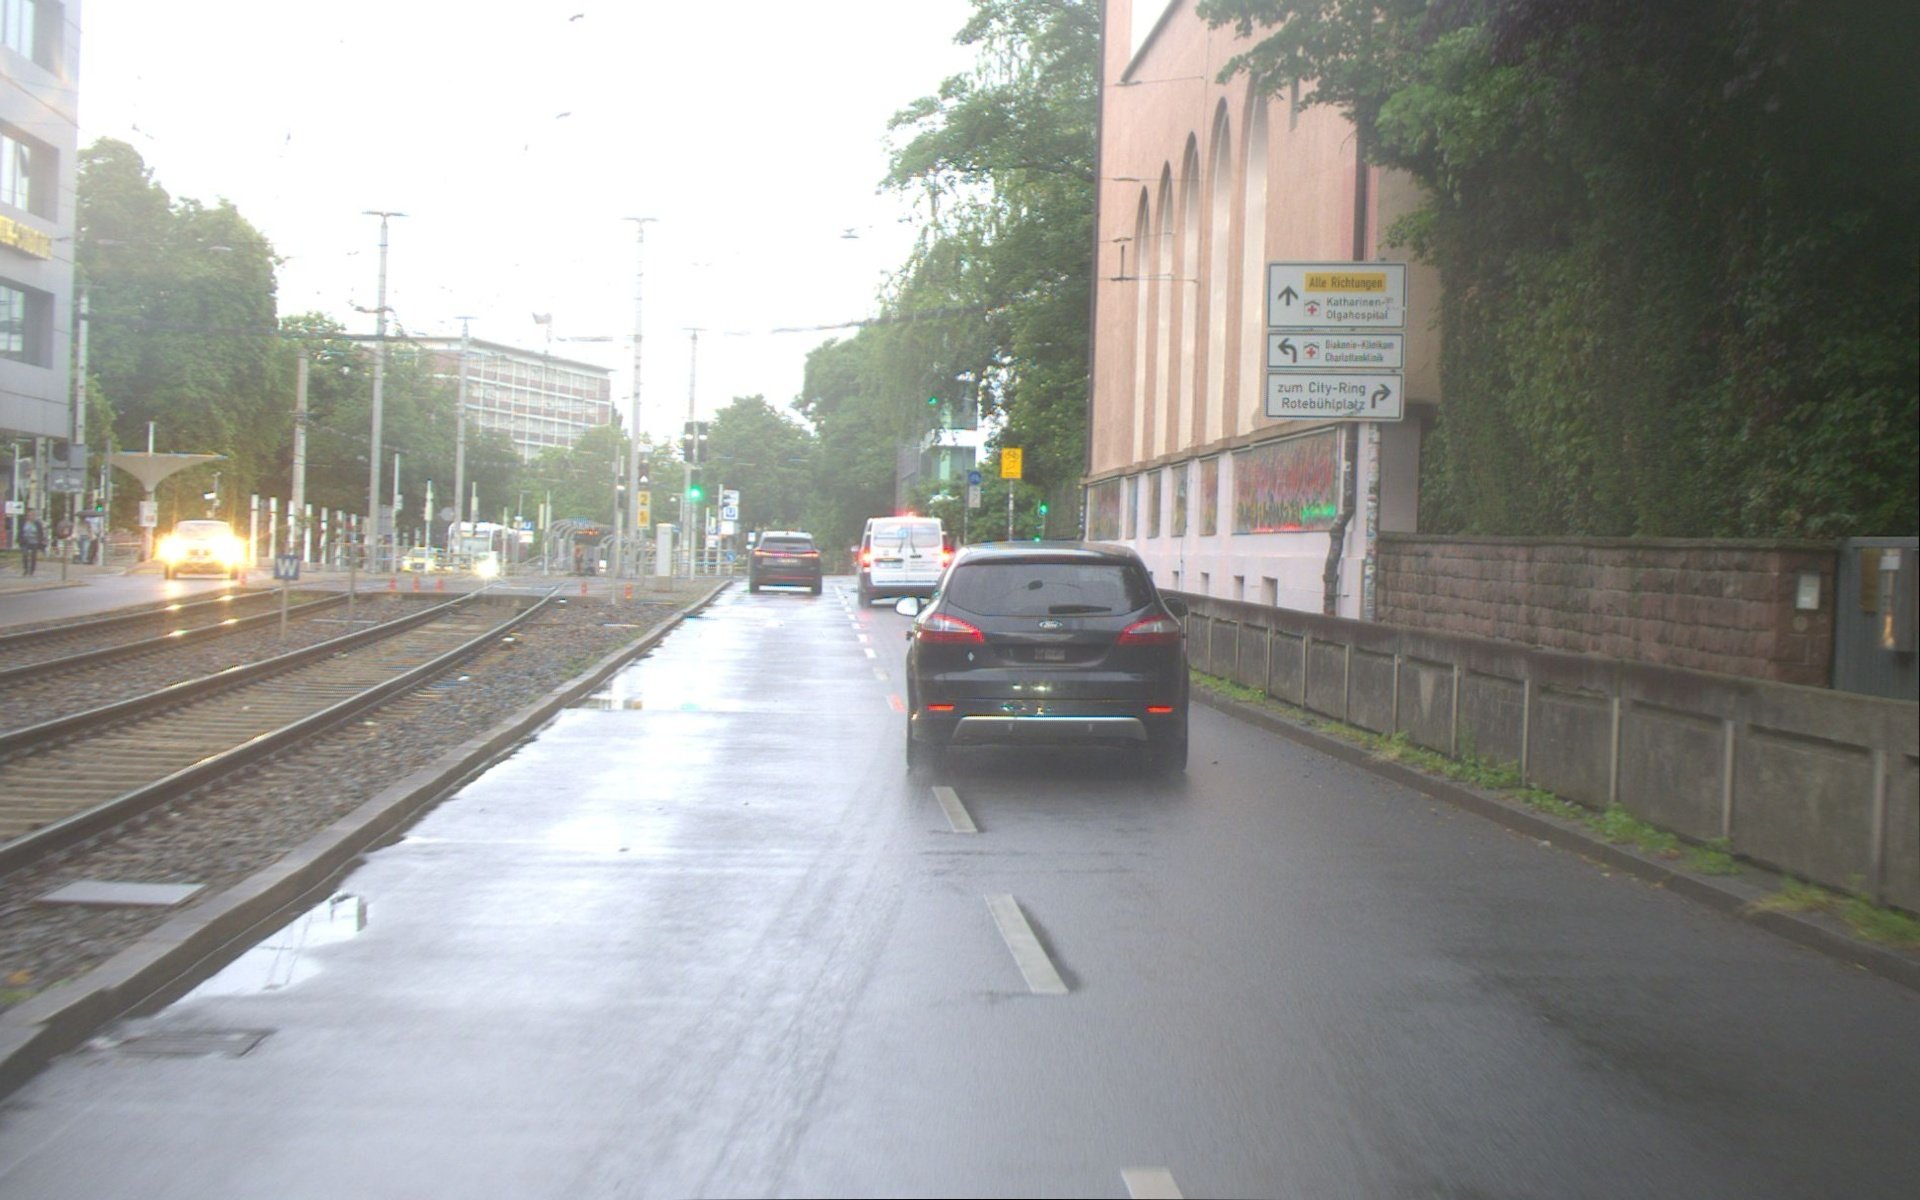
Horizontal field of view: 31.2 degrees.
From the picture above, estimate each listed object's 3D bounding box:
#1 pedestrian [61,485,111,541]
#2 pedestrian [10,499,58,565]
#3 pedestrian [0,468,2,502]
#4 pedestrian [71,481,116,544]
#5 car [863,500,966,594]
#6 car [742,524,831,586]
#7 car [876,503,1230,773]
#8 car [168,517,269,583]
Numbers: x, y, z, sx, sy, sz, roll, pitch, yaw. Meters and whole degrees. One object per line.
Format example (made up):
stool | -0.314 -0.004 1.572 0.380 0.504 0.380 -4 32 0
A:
pedestrian | -25.831 -2.570 101.658 1.001 1.588 0.912 4 1 22
pedestrian | -23.182 -1.698 86.088 0.963 1.588 0.589 3 1 -28
pedestrian | -18.788 -1.539 65.617 0.661 2.007 0.617 3 1 -41
pedestrian | -26.573 -2.688 105.432 1.000 1.856 0.913 3 1 -31
car | -0.947 -1.124 72.281 2.036 1.833 4.392 2 1 -1
car | -4.350 -1.131 86.982 2.098 1.500 4.732 0 1 -1
car | 0.513 0.188 23.084 2.035 1.579 4.393 2 1 -2
car | -18.281 -1.246 84.940 1.939 1.531 4.350 -1 1 -6
